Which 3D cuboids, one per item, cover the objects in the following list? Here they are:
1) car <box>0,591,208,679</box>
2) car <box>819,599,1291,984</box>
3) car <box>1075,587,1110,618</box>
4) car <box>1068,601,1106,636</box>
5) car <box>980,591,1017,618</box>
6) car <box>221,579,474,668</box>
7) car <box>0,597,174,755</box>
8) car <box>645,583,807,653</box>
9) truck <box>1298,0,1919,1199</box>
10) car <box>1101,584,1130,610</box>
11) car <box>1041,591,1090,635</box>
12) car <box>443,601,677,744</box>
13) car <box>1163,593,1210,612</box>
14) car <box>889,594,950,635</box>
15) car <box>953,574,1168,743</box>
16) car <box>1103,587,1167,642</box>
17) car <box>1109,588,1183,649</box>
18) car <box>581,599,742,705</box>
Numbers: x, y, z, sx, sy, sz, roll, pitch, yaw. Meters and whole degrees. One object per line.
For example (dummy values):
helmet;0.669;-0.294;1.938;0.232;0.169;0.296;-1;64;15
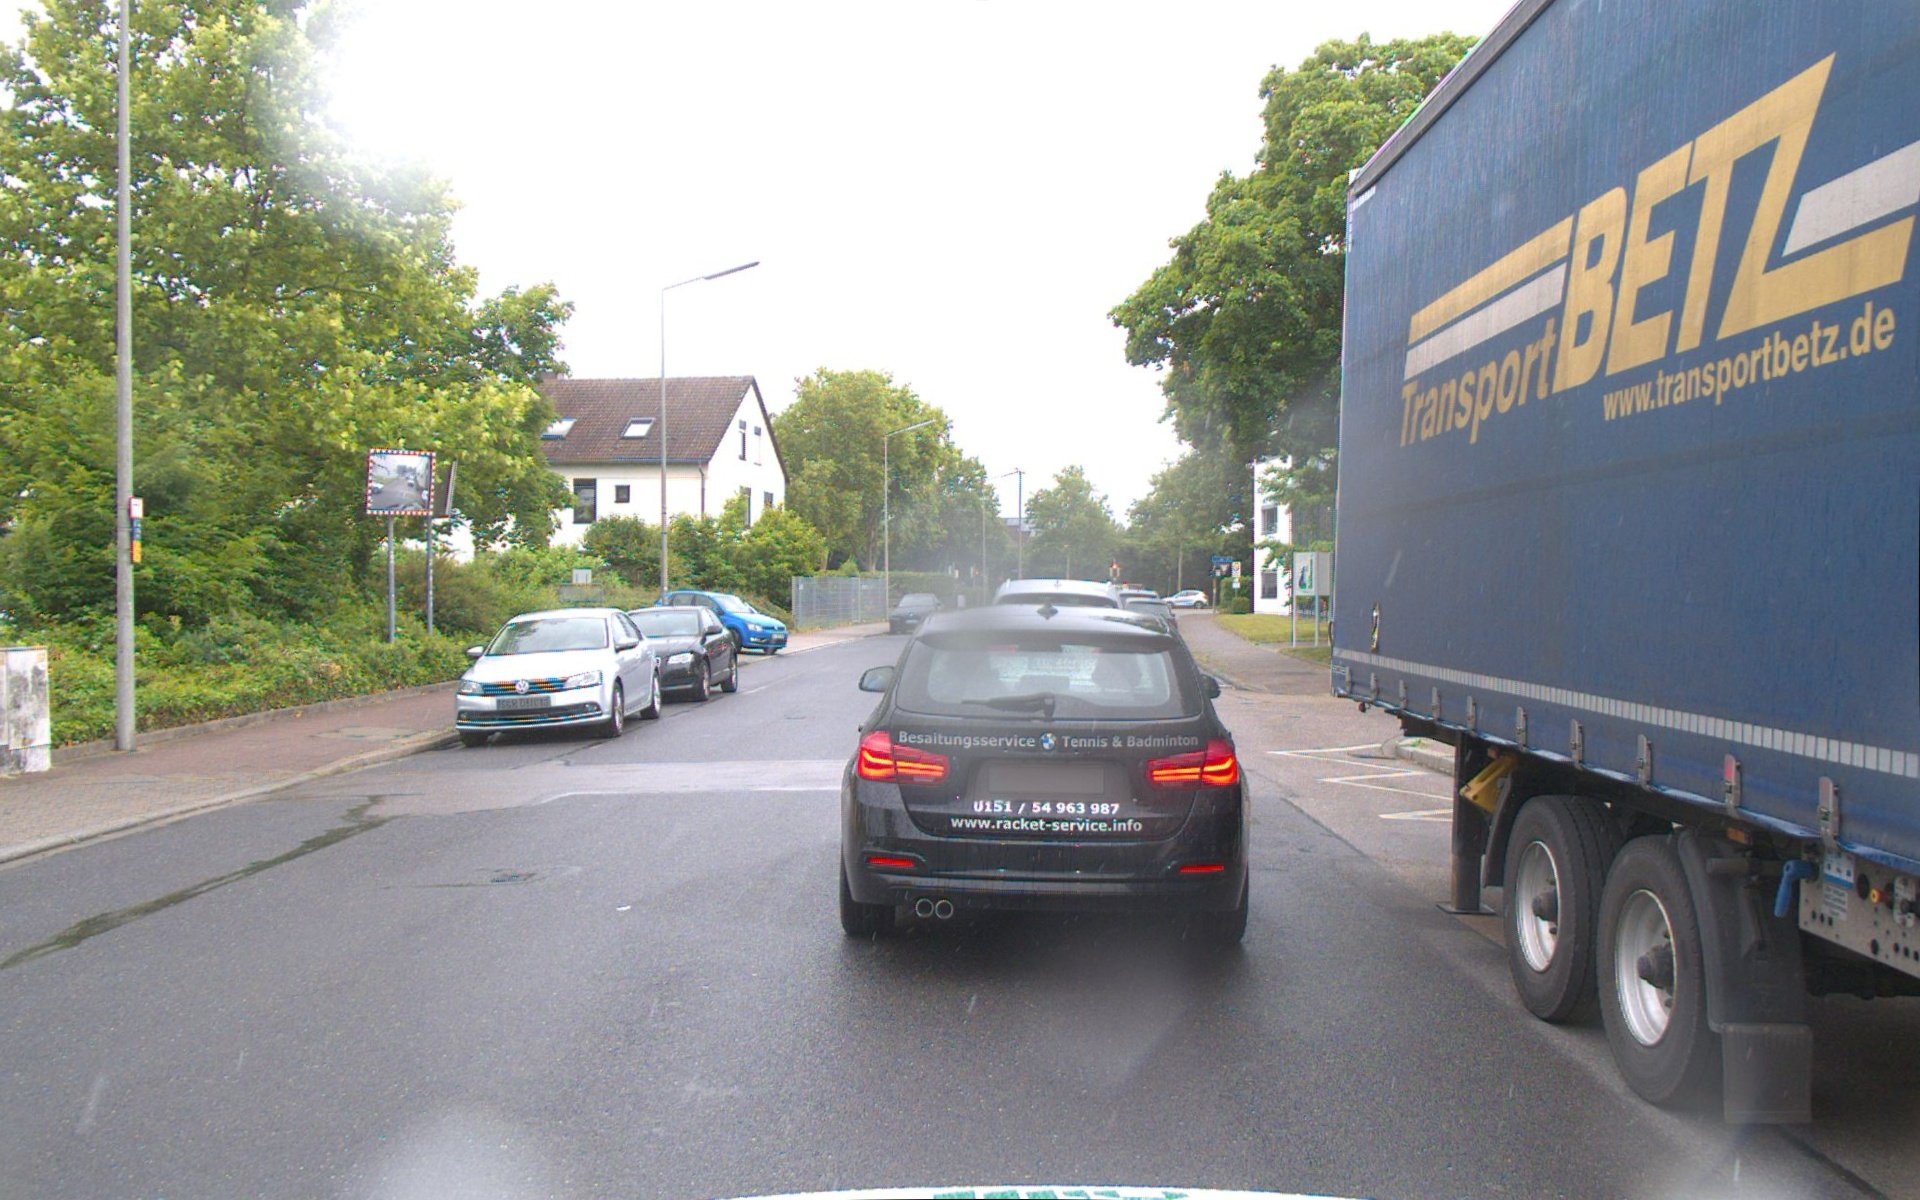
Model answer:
car;-16.148;0.613;30.237;3.906;1.567;1.910;0;0;-2
car;0.206;0.725;8.181;1.769;1.419;3.996;1;0;-5
car;6.966;0.115;87.032;1.766;1.614;4.002;0;0;5
car;6.138;0.888;79.782;1.766;1.614;4.002;1;0;5
car;2.197;0.235;93.907;1.669;1.391;3.841;-2;0;8
car;-11.100;0.412;30.189;3.906;1.567;1.910;0;0;-2
car;-10.207;0.711;16.872;3.497;1.485;1.712;2;0;-2
car;-5.975;0.467;42.250;3.751;1.622;1.709;-2;0;27
truck;3.387;-0.514;5.784;2.685;3.674;7.749;2;0;0
car;9.880;-0.197;105.099;1.766;1.614;4.002;0;0;5
car;4.088;0.492;63.441;1.766;1.614;4.002;1;0;5
car;-4.580;0.761;19.619;1.671;1.391;4.600;-2;0;-1
car;19.323;0.207;141.238;3.746;1.438;1.712;-2;0;2
car;-1.492;0.508;62.075;1.669;1.391;3.841;-2;0;8
car;0.974;0.574;17.983;1.769;1.614;3.996;1;0;-5
car;5.422;0.437;51.659;1.766;1.614;4.001;1;0;3
car;5.137;0.508;46.104;1.766;1.614;4.001;1;0;3
car;-4.474;0.735;25.313;1.670;1.391;3.838;-2;0;0
